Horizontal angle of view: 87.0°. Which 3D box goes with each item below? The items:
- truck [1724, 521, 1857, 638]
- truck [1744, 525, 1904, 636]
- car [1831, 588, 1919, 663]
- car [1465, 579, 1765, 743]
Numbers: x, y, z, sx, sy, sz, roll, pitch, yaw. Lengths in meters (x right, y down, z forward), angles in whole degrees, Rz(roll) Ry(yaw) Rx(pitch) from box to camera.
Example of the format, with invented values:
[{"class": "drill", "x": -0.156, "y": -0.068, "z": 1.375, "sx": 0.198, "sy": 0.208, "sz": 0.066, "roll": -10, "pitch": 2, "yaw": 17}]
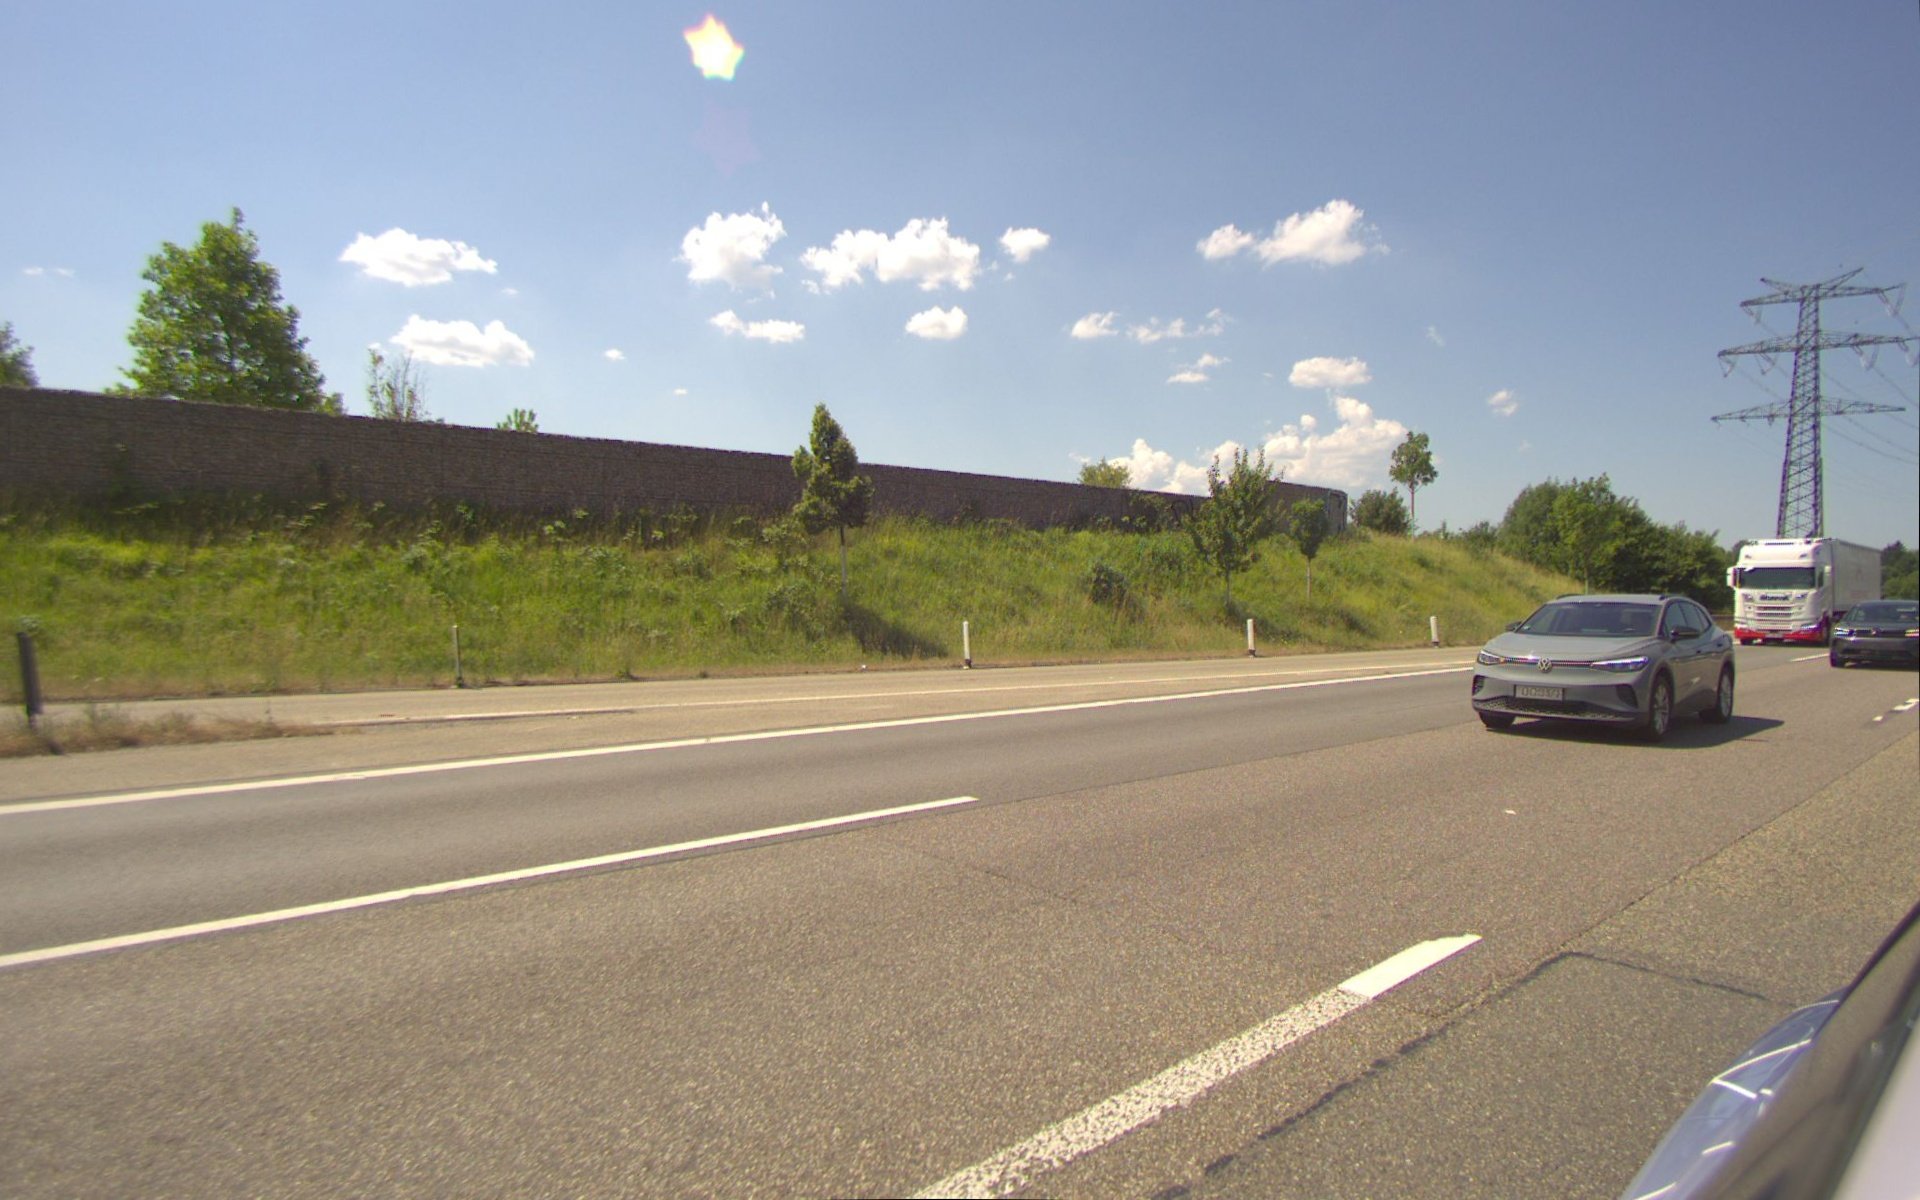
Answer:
[{"class": "truck", "x": 30.112, "y": -0.697, "z": 36.692, "sx": 3.779, "sy": 3.957, "sz": 3.074, "roll": 0, "pitch": 0, "yaw": -40}, {"class": "truck", "x": 35.403, "y": -0.701, "z": 41.231, "sx": 12.283, "sy": 3.957, "sz": 3.074, "roll": 0, "pitch": 0, "yaw": -41}, {"class": "car", "x": 22.569, "y": 0.564, "z": 24.270, "sx": 3.975, "sy": 1.667, "sz": 1.954, "roll": 0, "pitch": 0, "yaw": -40}, {"class": "car", "x": 8.154, "y": 0.613, "z": 12.429, "sx": 4.504, "sy": 1.657, "sz": 1.871, "roll": 0, "pitch": 0, "yaw": -40}]
